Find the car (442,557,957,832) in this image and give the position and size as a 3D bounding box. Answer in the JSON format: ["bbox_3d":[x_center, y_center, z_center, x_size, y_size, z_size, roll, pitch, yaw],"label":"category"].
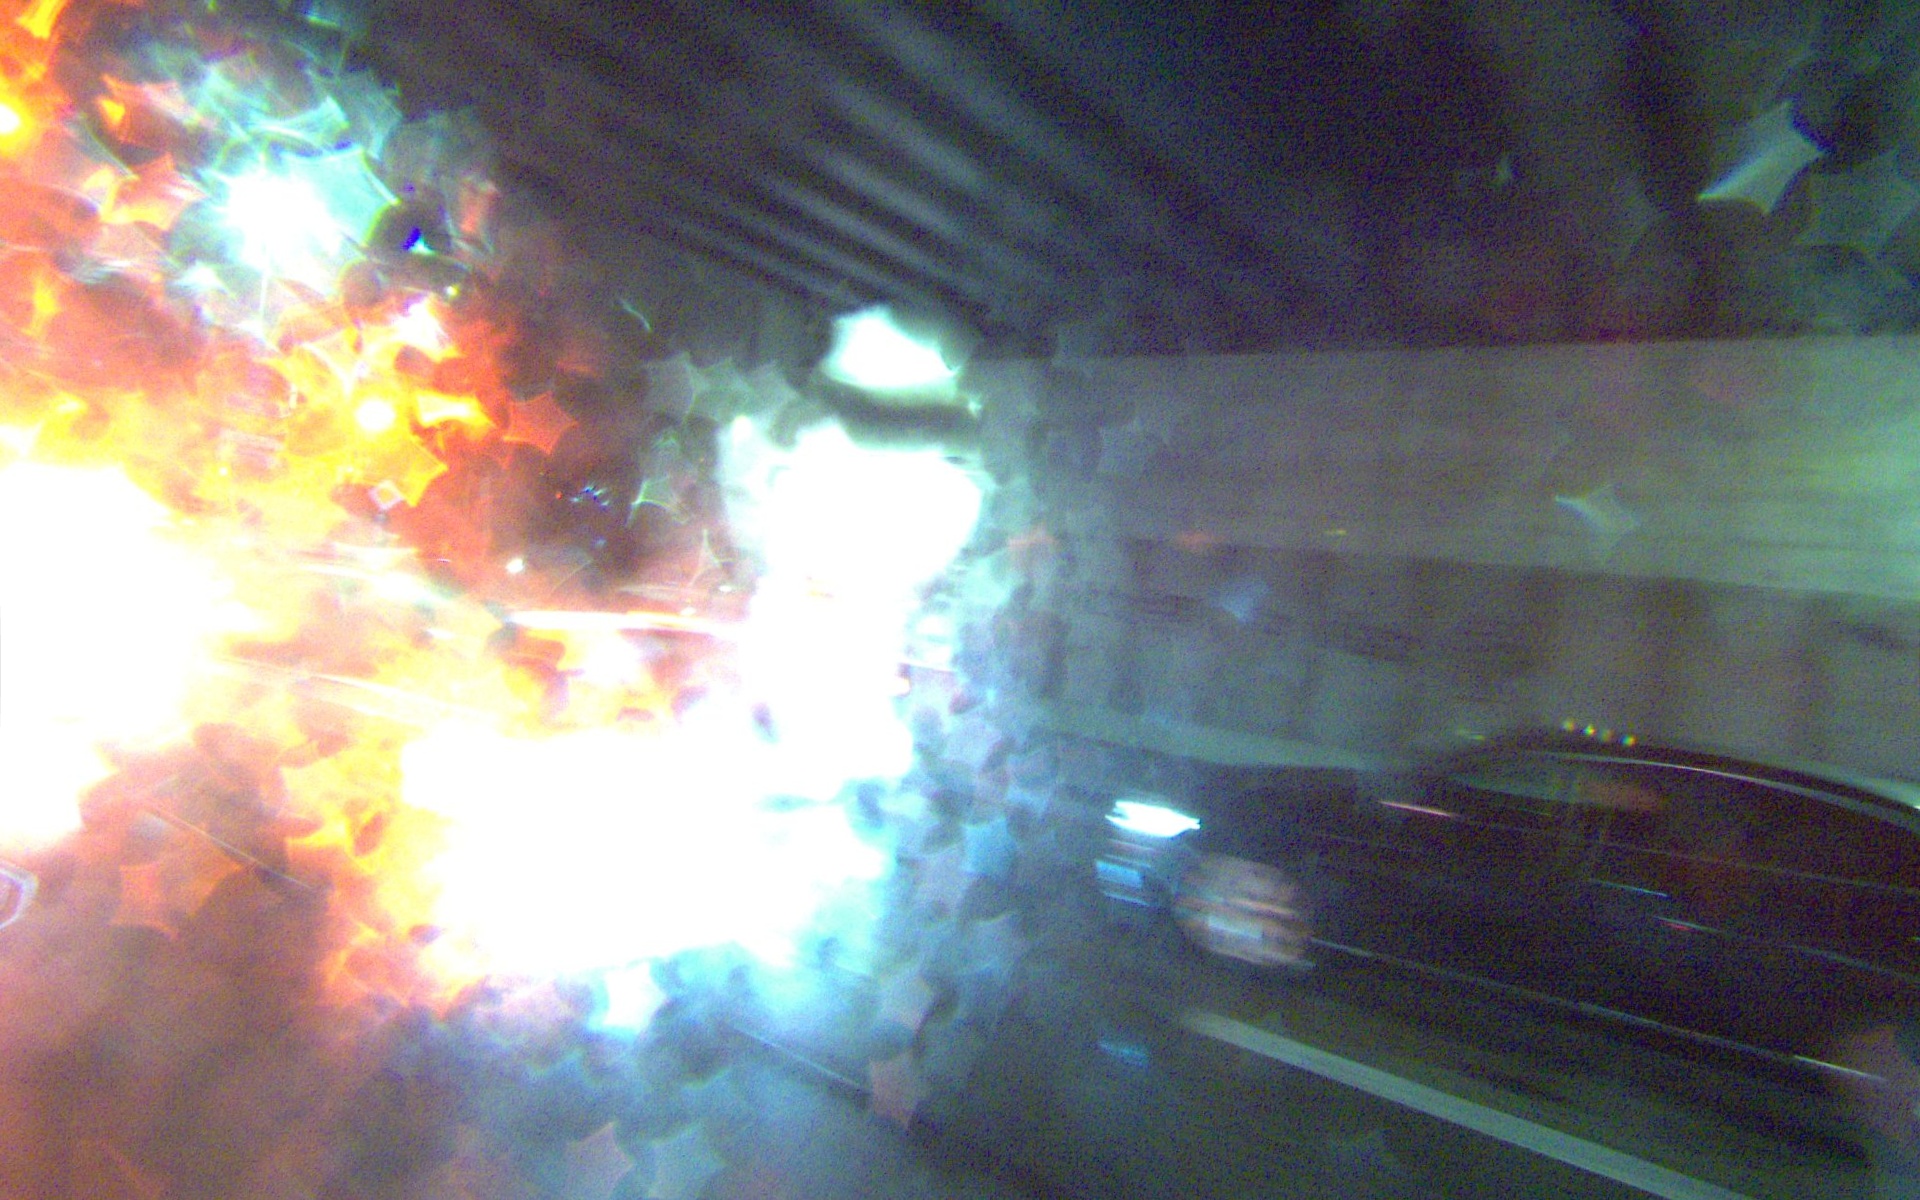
[{"bbox_3d":[-2.255,0.611,8.261,4.095,1.465,1.721,7,1,34],"label":"car"}]

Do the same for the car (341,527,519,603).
[{"bbox_3d":[-16.128,-1.045,30.744,4.357,1.642,1.814,9,-2,-44],"label":"car"}]

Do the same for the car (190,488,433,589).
[{"bbox_3d":[-16.513,-1.523,25.840,1.812,1.790,4.817,6,-2,42],"label":"car"}]

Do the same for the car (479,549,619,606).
[{"bbox_3d":[-16.662,-0.891,40.995,1.828,1.609,4.845,6,-2,42],"label":"car"}]

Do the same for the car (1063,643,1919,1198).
[{"bbox_3d":[3.031,1.263,4.669,4.710,1.505,1.721,7,0,34],"label":"car"}]

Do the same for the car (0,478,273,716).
[{"bbox_3d":[-7.349,-0.180,7.868,4.312,1.465,1.721,7,1,34],"label":"car"}]

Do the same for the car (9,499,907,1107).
[{"bbox_3d":[-2.453,0.500,4.530,4.095,1.464,1.722,7,-1,34],"label":"car"}]

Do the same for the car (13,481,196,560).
[{"bbox_3d":[-27.757,-2.523,32.866,4.272,1.806,2.025,9,-2,-37],"label":"car"}]
